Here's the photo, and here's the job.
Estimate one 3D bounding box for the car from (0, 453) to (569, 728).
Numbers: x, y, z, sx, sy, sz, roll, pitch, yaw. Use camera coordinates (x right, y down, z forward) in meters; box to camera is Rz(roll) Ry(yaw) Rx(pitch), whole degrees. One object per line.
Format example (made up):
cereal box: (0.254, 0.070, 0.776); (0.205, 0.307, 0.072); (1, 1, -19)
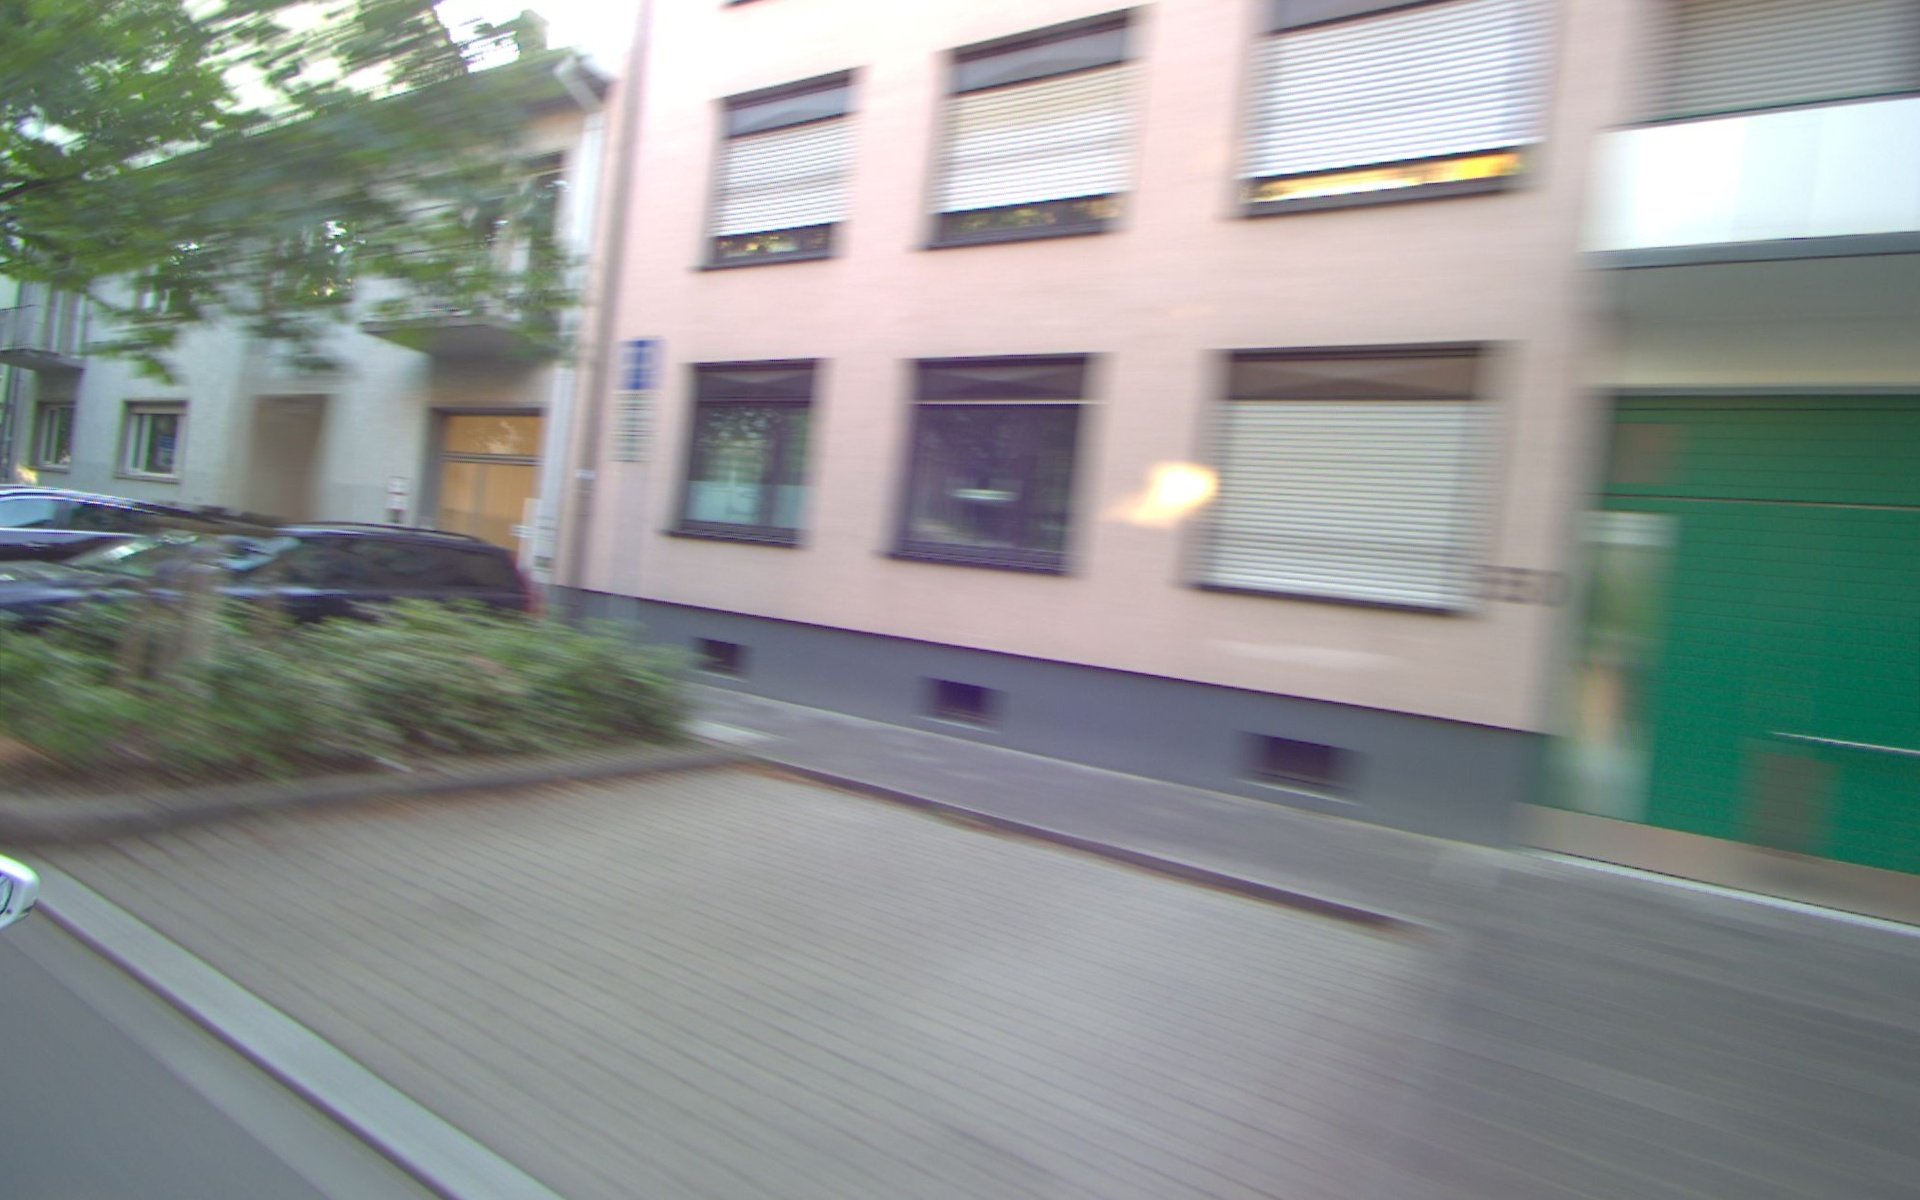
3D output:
car: (-5.939, -0.005, 8.258); (1.918, 1.730, 4.724); (8, -1, 33)

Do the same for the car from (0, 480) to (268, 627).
car: (-11.217, -0.626, 11.788); (1.930, 1.541, 4.686); (7, 1, 31)
